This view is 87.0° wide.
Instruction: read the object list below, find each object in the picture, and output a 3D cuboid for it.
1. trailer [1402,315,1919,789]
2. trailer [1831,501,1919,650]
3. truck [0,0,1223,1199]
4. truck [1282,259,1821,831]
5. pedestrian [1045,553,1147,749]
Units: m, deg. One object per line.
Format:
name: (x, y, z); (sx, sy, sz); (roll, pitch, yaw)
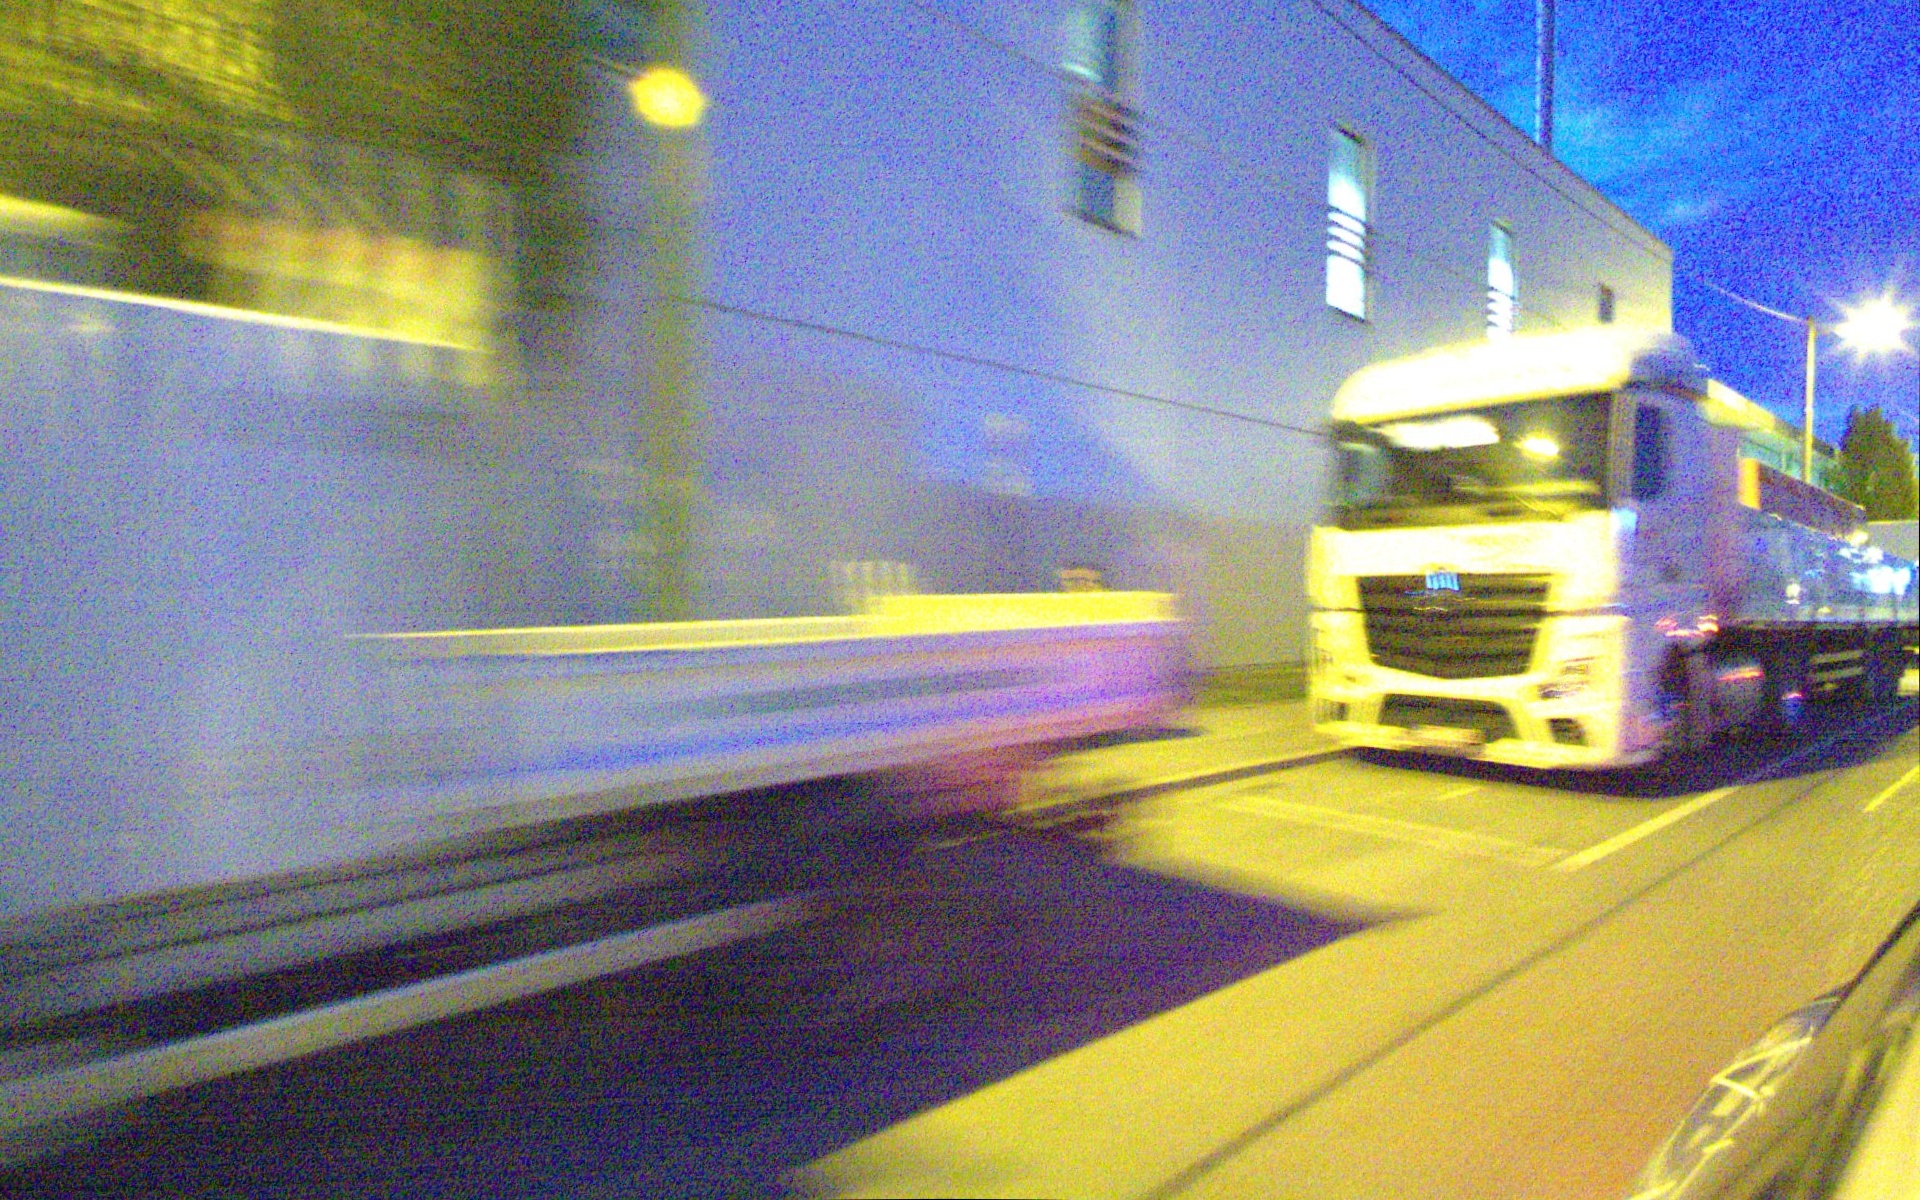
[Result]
trailer: (10.889, -0.469, 13.859); (14.397, 3.811, 2.771); (-1, 0, -40)
trailer: (25.999, -0.590, 27.006); (8.136, 3.568, 2.884); (0, 1, -40)
truck: (-2.127, 0.080, 3.124); (6.480, 2.626, 2.406); (0, 1, -40)
truck: (5.682, -0.395, 9.465); (5.136, 3.811, 2.771); (-1, 0, -40)
pedestrian: (1.215, 0.421, 9.050); (0.677, 1.669, 0.575); (0, 2, -41)
